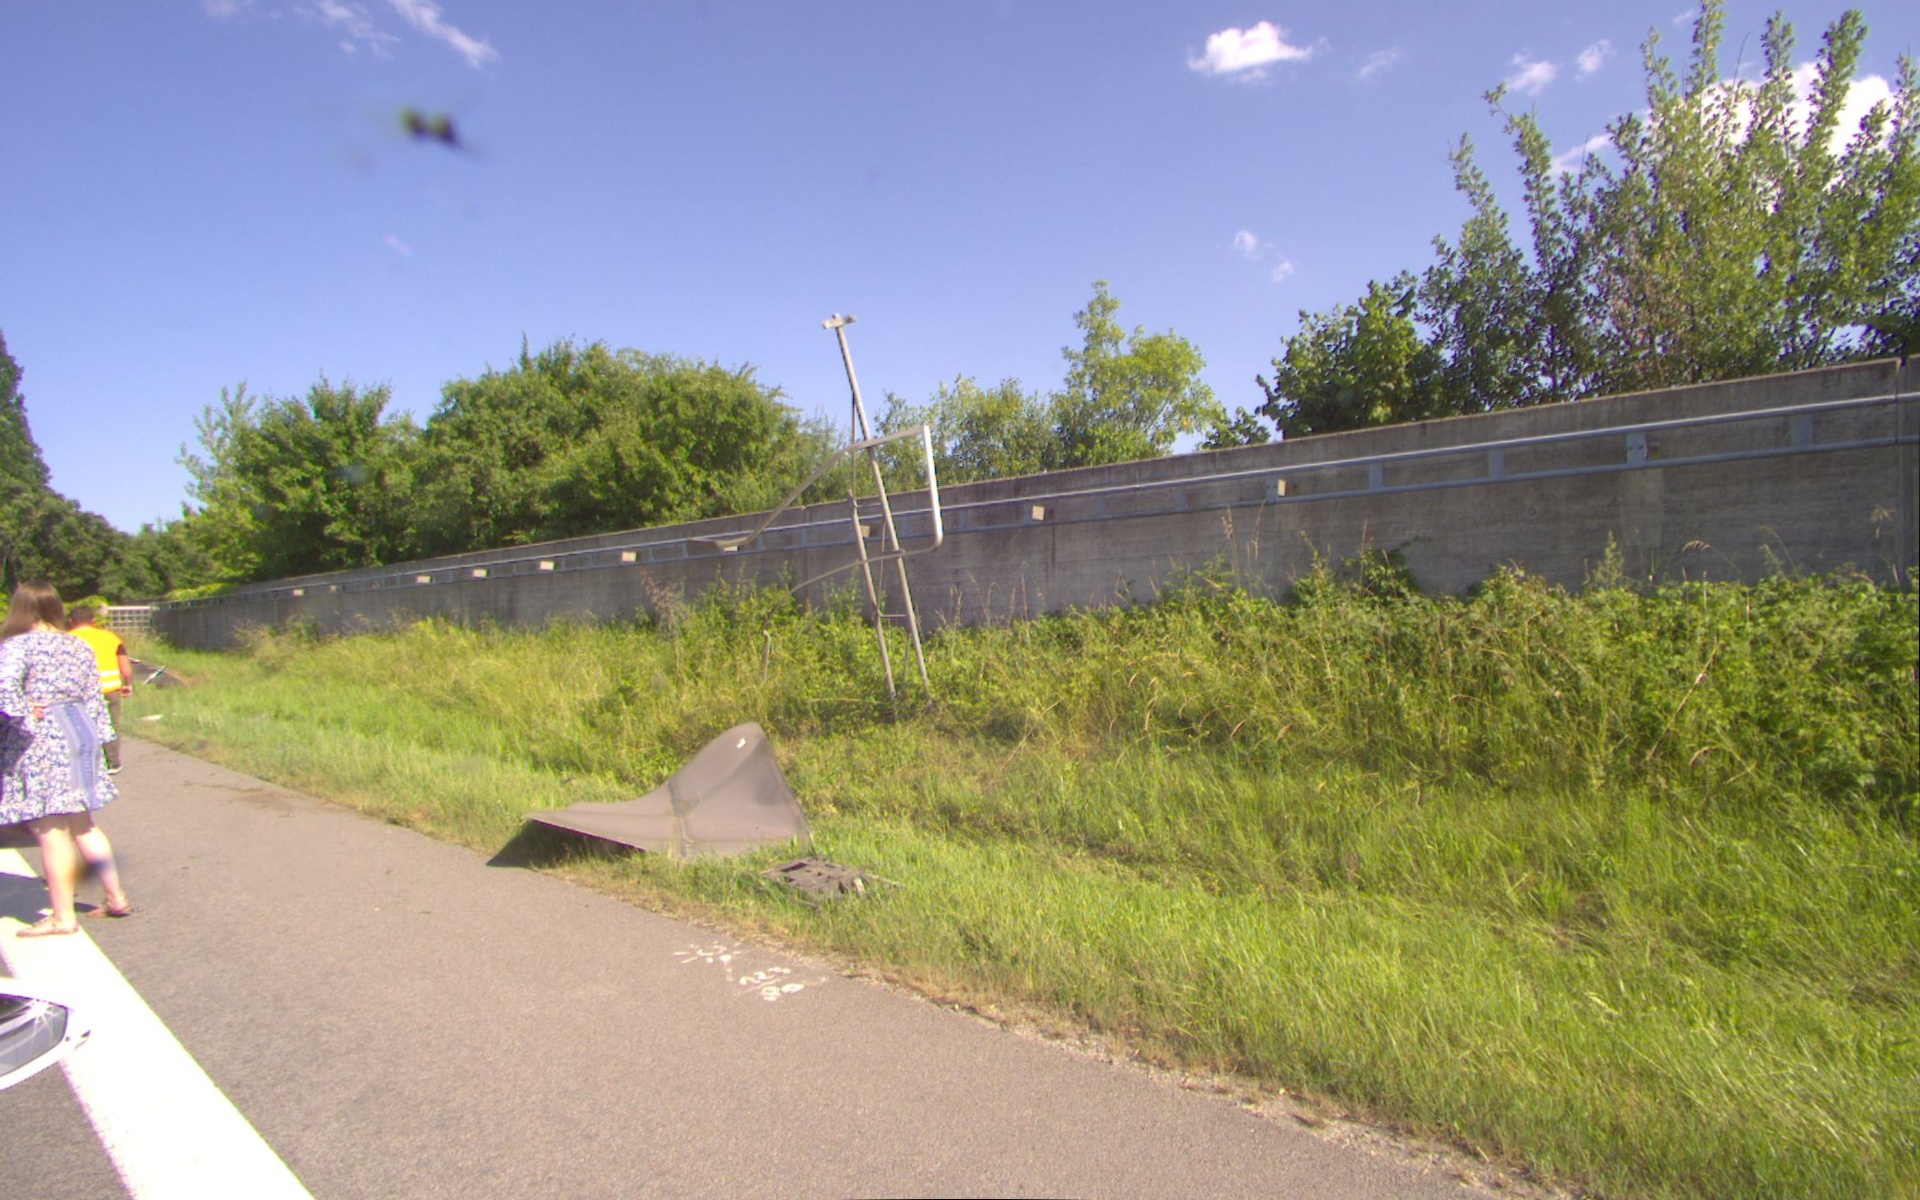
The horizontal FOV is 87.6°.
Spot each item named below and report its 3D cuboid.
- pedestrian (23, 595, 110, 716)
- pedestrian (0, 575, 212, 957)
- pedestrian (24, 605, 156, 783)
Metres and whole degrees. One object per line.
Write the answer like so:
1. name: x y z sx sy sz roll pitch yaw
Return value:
1. pedestrian: -13.460 0.821 15.086 0.746 1.747 0.890 -1 -2 43
2. pedestrian: -4.505 0.753 4.896 1.109 1.718 0.890 -1 0 -19
3. pedestrian: -8.841 0.897 10.216 0.950 1.675 1.267 -1 0 -41
